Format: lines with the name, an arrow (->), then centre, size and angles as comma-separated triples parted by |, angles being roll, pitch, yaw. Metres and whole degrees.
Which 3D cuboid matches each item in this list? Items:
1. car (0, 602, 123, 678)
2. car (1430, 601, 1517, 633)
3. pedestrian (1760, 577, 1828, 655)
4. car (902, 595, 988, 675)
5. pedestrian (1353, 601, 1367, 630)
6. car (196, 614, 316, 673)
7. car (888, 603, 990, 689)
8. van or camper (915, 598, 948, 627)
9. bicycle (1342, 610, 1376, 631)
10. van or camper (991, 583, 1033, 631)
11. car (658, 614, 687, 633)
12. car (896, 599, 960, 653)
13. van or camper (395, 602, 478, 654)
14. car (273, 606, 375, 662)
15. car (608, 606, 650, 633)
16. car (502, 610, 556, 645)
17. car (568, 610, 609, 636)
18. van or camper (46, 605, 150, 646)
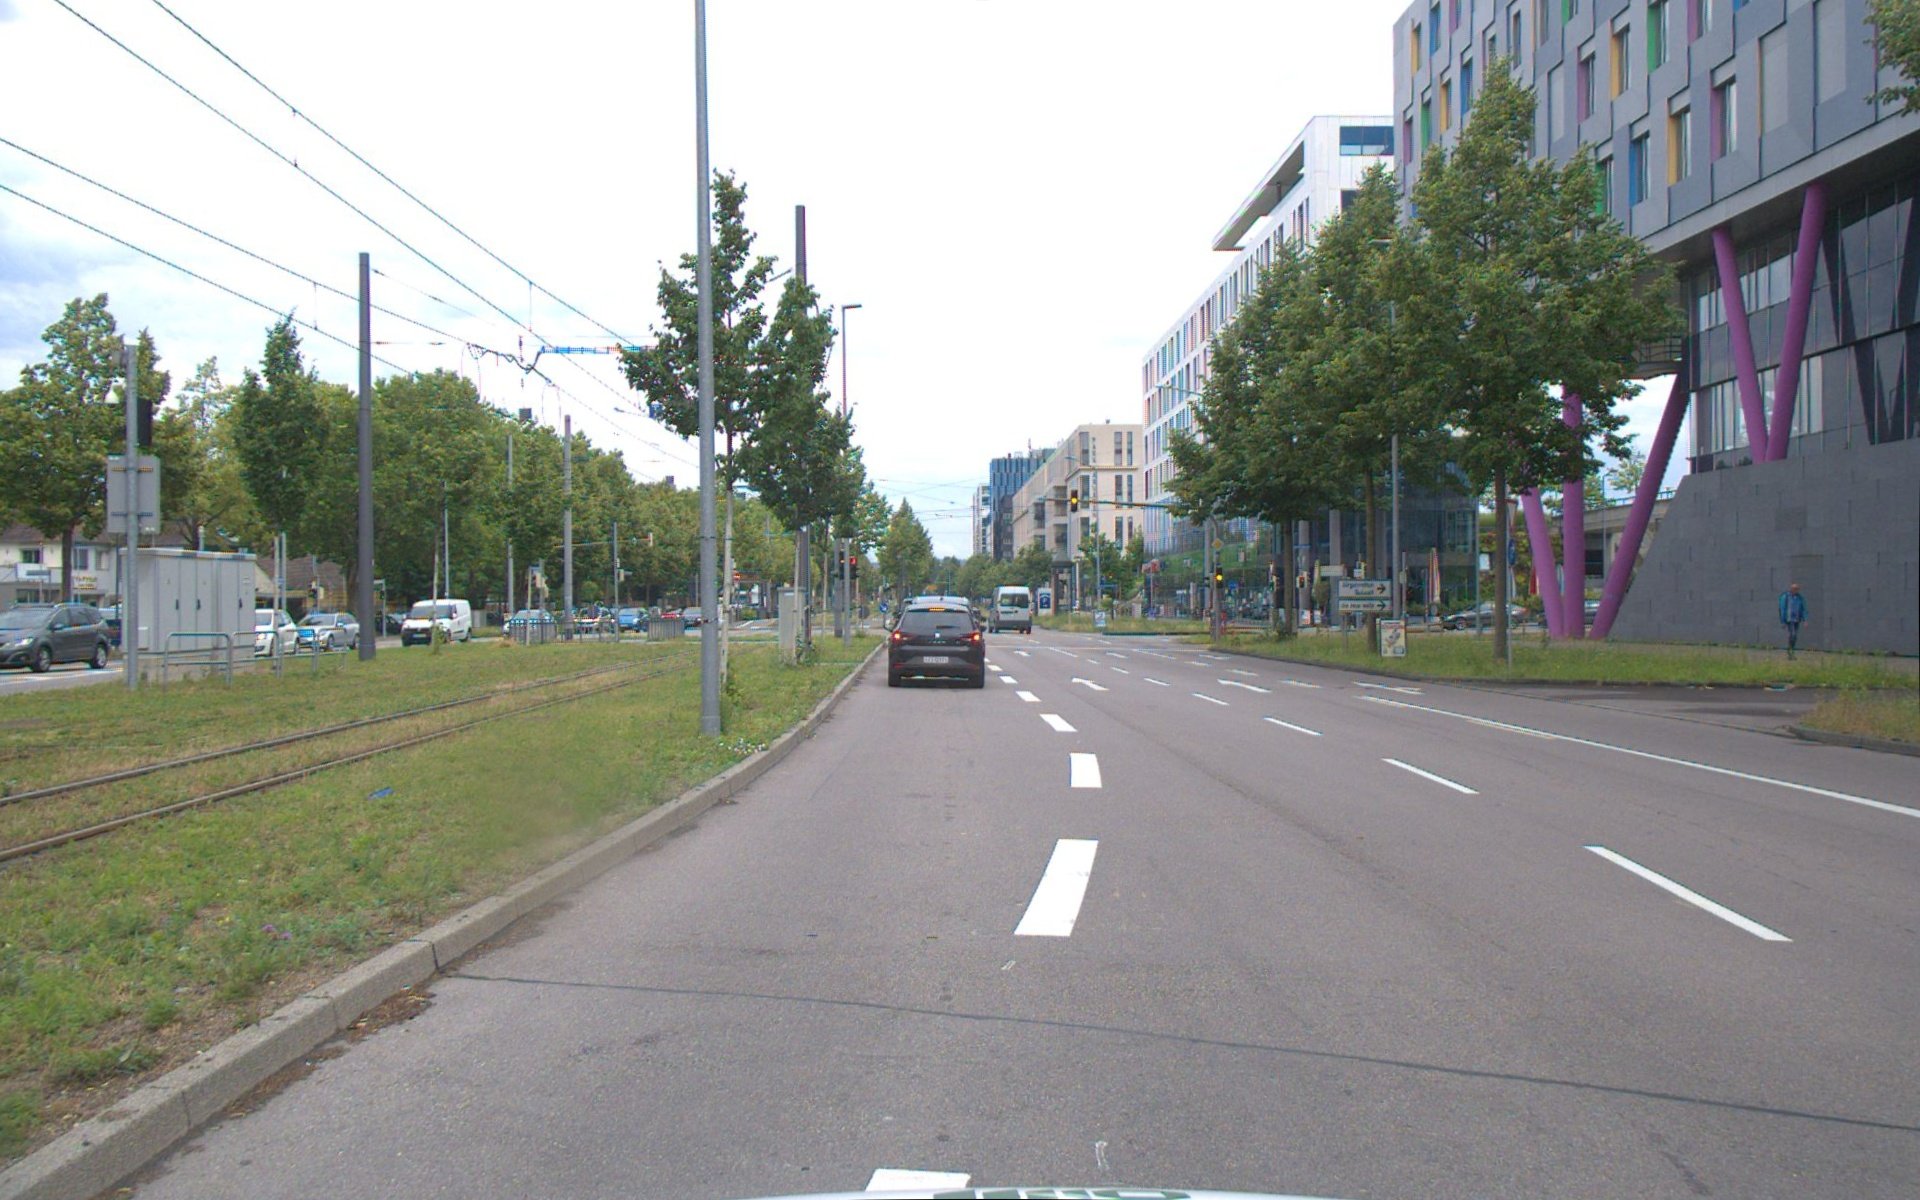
car -> -23.963, 0.985, 42.962 | 1.953, 1.855, 4.966 | 0, 0, -1
car -> 27.817, 0.907, 89.730 | 4.163, 1.643, 1.758 | -1, 0, 0
pedestrian -> 19.695, 0.360, 39.091 | 1.030, 1.801, 1.137 | -1, 0, 0
car -> -0.352, 0.725, 36.406 | 1.766, 1.653, 3.999 | 0, 0, -1
pedestrian -> 22.115, 0.855, 91.478 | 0.602, 1.632, 0.618 | -1, 0, 1
car -> -19.528, 1.171, 46.088 | 1.728, 1.505, 4.568 | -1, 0, -5
car -> -0.418, 0.789, 30.180 | 1.708, 1.442, 3.998 | 1, 0, -2
van or camper -> -1.716, 0.725, 100.255 | 1.953, 1.643, 4.788 | 0, 1, -1
bicycle -> 22.073, 1.123, 91.479 | 1.755, 1.104, 0.618 | -1, 0, 0
van or camper -> 2.763, 0.345, 88.668 | 2.066, 2.397, 4.923 | 0, 2, -1
car -> -24.945, 2.043, 143.785 | 1.759, 1.598, 4.327 | -1, 0, 0
car -> -1.043, 0.825, 55.074 | 1.952, 1.711, 4.001 | 1, 0, 1
van or camper -> -20.779, 1.088, 65.878 | 1.851, 1.933, 5.122 | -1, 0, -3
car -> -24.509, 1.277, 63.905 | 1.953, 2.049, 5.294 | 0, 0, -1
car -> -20.916, 1.230, 104.671 | 1.925, 1.616, 4.686 | 0, 0, -3
car -> -20.964, 1.312, 80.634 | 1.695, 1.470, 4.916 | -2, 1, -6
car -> -24.107, 1.496, 107.426 | 1.760, 1.598, 4.576 | 2, -1, -3
van or camper -> -44.303, 1.287, 84.996 | 5.167, 2.049, 2.460 | -1, 0, 31
